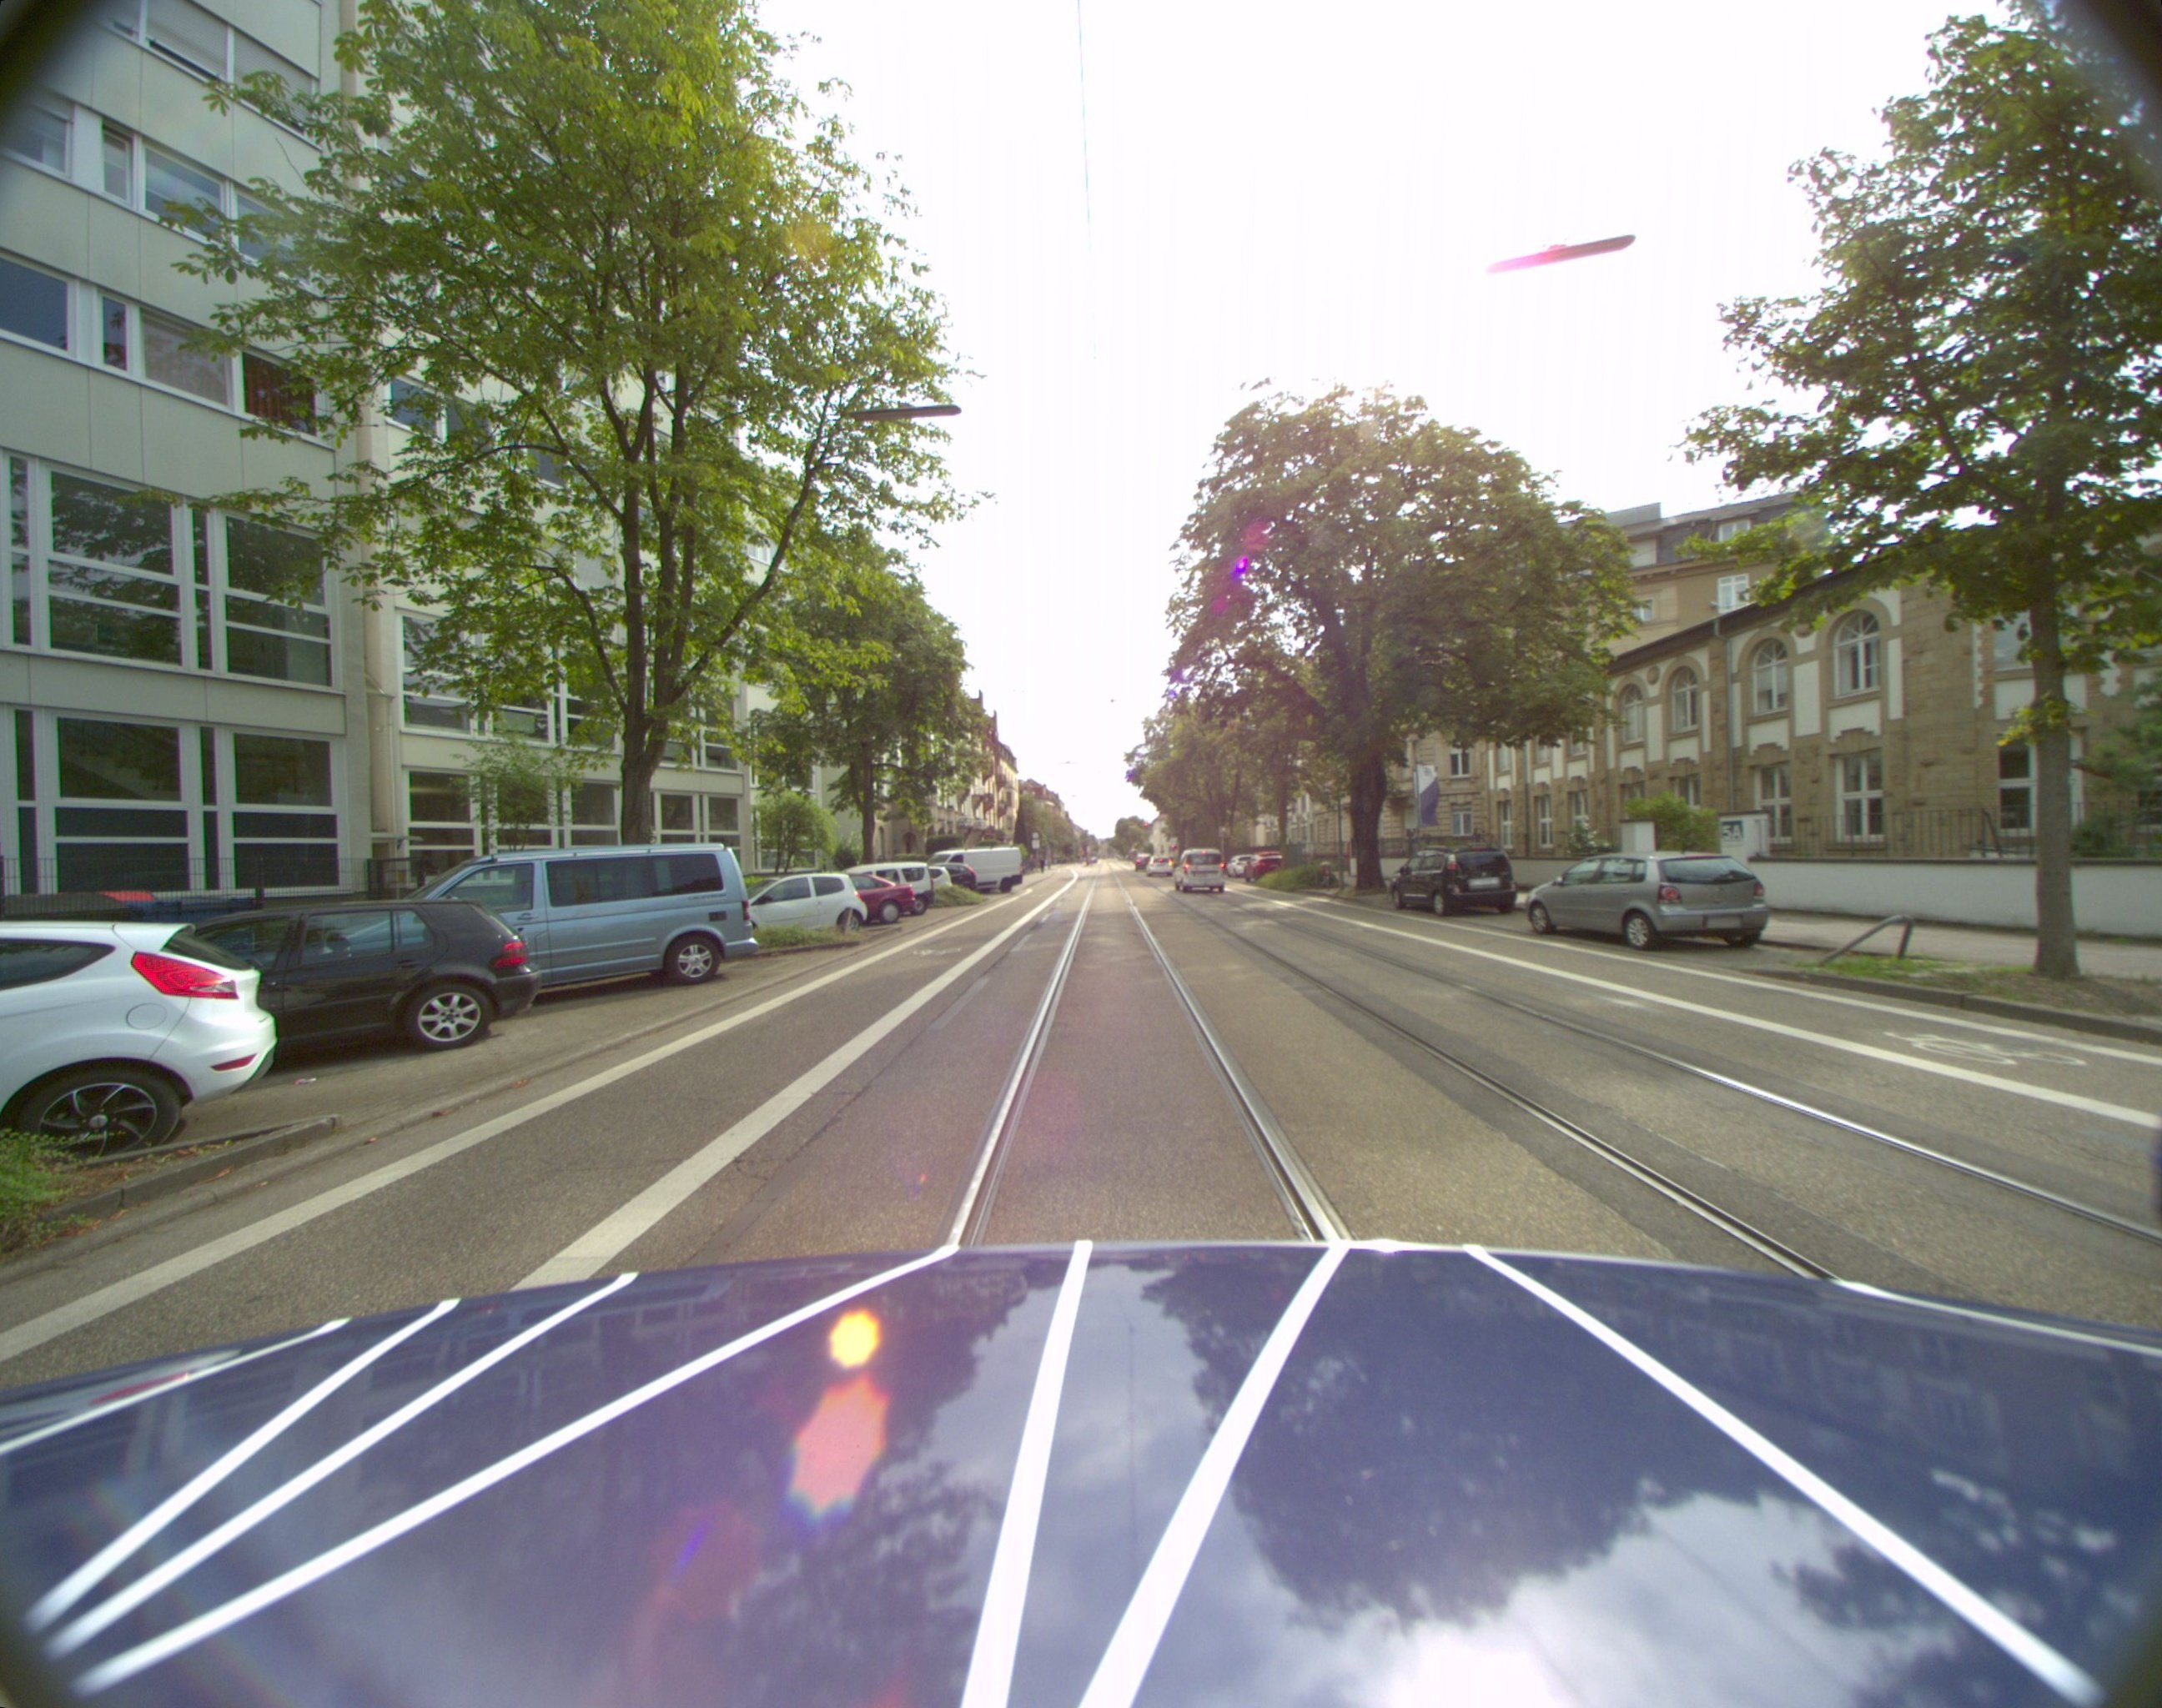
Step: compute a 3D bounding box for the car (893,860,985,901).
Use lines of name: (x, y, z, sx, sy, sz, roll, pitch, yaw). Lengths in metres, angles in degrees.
car: (-6.255, 1.126, 33.451, 3.649, 1.580, 1.764, -2, 1, -25)

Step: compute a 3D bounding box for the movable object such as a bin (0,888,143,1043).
movable object such as a bin: (-12.154, 1.237, 8.611, 1.334, 1.586, 1.354, -2, 0, 5)

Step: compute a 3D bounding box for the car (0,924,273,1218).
car: (-6.959, 1.252, 3.813, 3.869, 1.385, 1.629, -2, 0, -45)

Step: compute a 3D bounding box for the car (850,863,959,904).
car: (-6.776, 1.100, 29.322, 3.652, 1.322, 1.763, -3, 1, -44)

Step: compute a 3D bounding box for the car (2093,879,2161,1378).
car: (4.008, 0.805, 0.197, 1.736, 1.488, 4.379, -1, 0, 2)

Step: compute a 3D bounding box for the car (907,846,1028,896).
car: (-5.473, 0.775, 37.125, 5.449, 2.163, 2.142, -2, 1, -40)

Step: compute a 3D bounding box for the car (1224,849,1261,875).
car: (10.643, 0.527, 50.233, 1.658, 1.592, 3.906, -2, 0, 1)

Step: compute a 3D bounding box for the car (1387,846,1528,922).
car: (9.111, 0.664, 18.749, 1.658, 1.624, 3.725, -2, 0, 1)

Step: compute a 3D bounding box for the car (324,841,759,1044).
car: (-6.916, 0.915, 10.098, 4.354, 2.052, 1.994, -2, 0, -44)

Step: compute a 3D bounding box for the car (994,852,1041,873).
car: (-5.491, 0.749, 65.721, 3.649, 1.666, 1.764, -2, 1, -25)

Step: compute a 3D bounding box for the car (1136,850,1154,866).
car: (7.478, 0.452, 89.046, 1.799, 1.813, 4.678, -2, 0, 1)

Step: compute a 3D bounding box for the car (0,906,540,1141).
car: (-7.356, 1.304, 6.655, 3.980, 1.379, 1.810, -3, -1, -44)

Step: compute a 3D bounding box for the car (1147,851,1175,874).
car: (5.833, 0.622, 56.117, 1.736, 1.603, 4.334, -1, 0, 2)

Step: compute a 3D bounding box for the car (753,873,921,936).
car: (-6.371, 1.253, 20.033, 3.777, 1.331, 1.809, -2, 1, -40)

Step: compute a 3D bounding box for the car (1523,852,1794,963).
car: (8.921, 0.730, 12.162, 1.632, 1.456, 3.574, -2, 0, 1)

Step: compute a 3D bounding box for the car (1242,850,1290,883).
car: (10.032, 0.641, 41.478, 1.658, 1.624, 3.906, -2, 0, 1)

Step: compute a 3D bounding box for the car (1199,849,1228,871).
car: (10.546, 0.446, 60.775, 1.658, 1.624, 3.906, -2, 0, 1)

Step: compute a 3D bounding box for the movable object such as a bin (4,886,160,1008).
movable object such as a bin: (-14.423, 1.287, 10.985, 1.177, 1.559, 1.177, -2, 1, 30)

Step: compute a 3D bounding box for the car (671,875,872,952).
car: (-6.736, 1.216, 16.736, 3.652, 1.322, 1.763, -3, 1, -44)

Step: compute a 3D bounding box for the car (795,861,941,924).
car: (-6.388, 1.078, 22.951, 3.777, 1.609, 1.809, -3, 1, -40)

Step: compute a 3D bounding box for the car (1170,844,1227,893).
car: (4.956, 0.582, 32.515, 1.736, 1.873, 4.378, -2, 0, 0)

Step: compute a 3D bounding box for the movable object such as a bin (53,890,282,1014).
movable object such as a bin: (-12.126, 1.257, 10.164, 1.334, 1.450, 1.400, -2, 0, 5)

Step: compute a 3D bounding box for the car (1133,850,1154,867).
car: (6.336, 0.448, 77.467, 1.852, 1.603, 4.334, -2, 0, 1)
